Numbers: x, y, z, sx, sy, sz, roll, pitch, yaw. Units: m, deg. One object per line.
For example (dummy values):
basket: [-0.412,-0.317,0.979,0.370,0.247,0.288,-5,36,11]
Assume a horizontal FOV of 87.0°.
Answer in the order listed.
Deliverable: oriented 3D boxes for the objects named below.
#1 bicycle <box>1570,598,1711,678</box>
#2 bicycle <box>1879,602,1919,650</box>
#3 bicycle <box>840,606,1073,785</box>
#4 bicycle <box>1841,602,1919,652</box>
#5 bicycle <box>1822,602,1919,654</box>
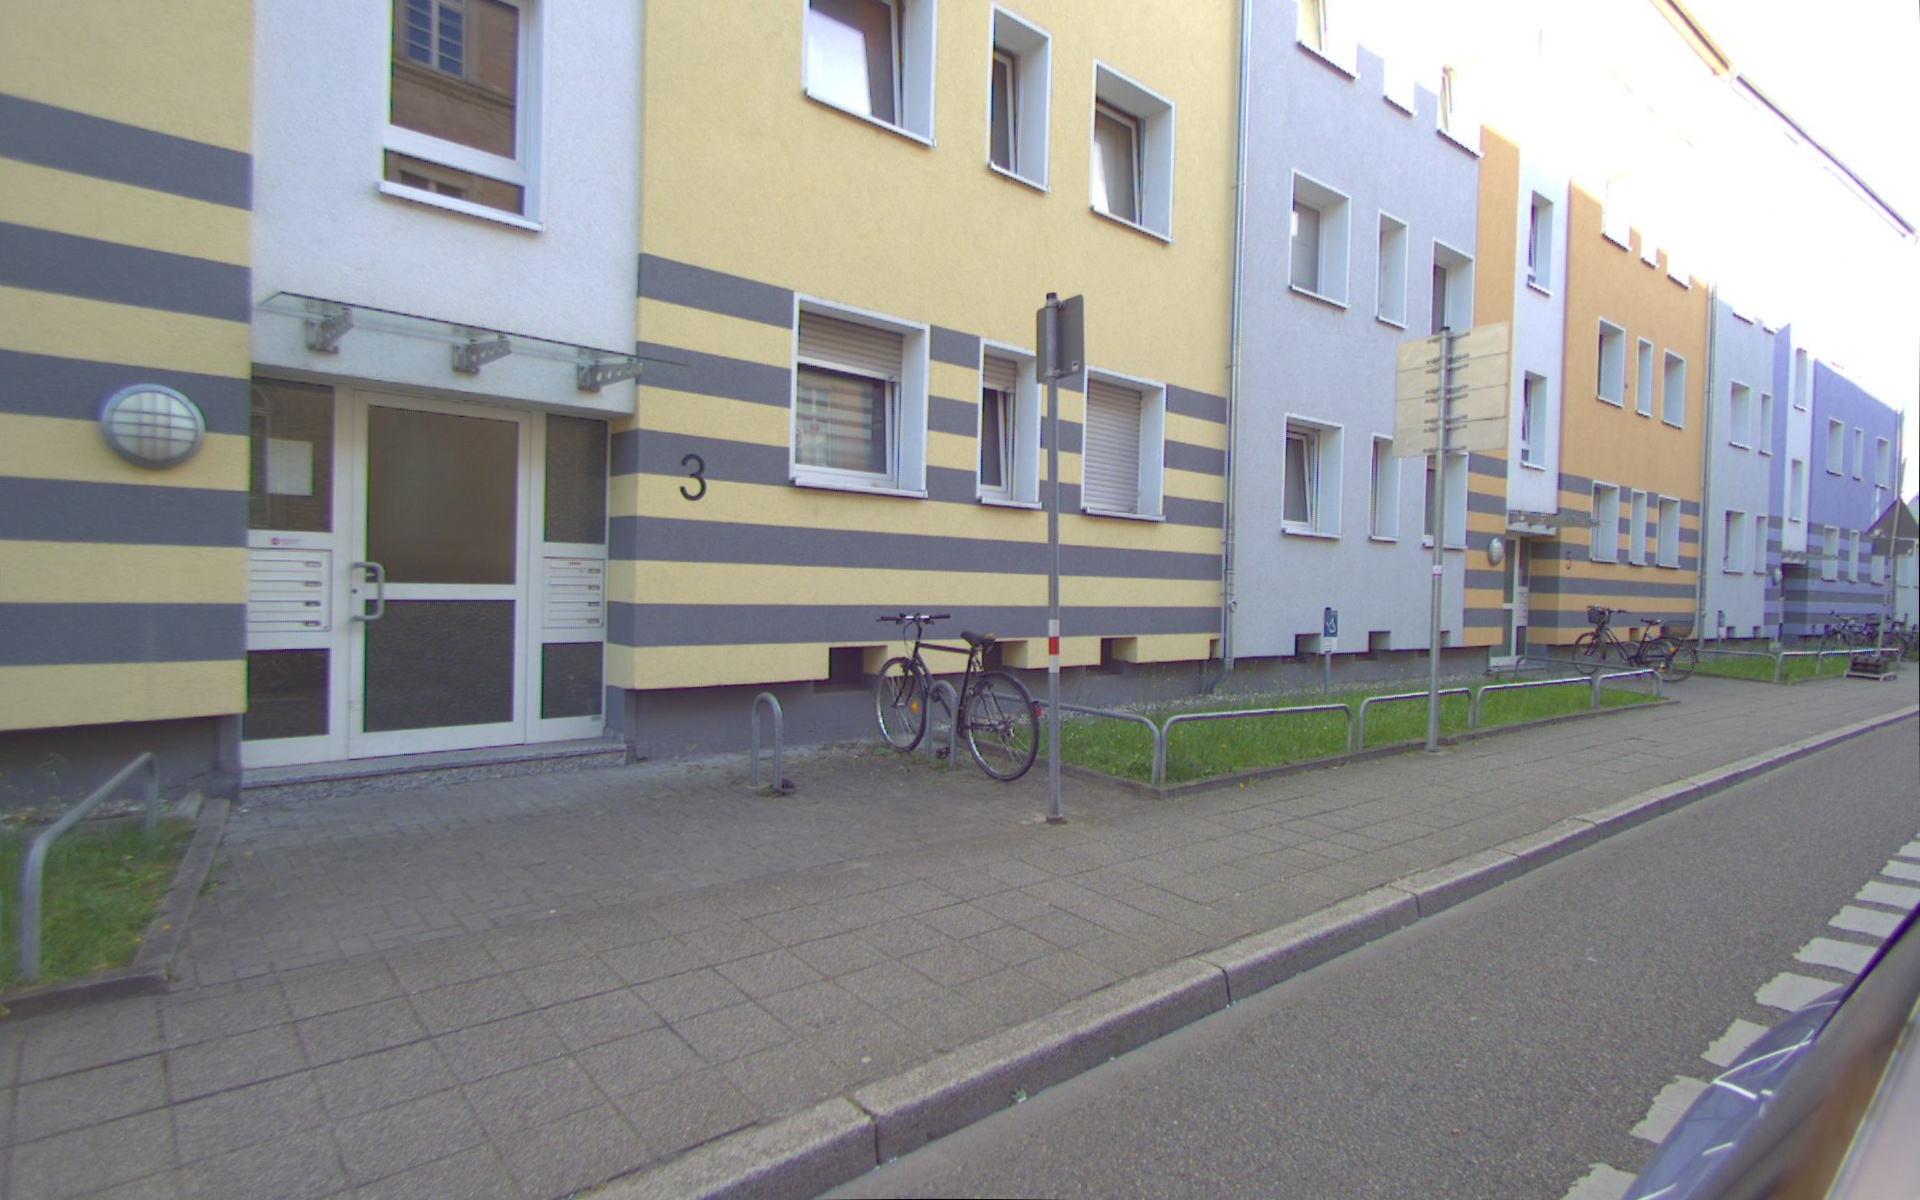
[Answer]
bicycle: [10.685,0.571,15.940,1.775,1.137,0.476,3,1,44]
bicycle: [24.132,0.668,25.272,0.475,1.166,1.678,1,1,-37]
bicycle: [-0.076,0.594,7.011,1.775,1.031,0.476,3,1,44]
bicycle: [23.305,0.656,25.415,0.475,1.166,1.678,1,1,-37]
bicycle: [22.224,0.673,24.723,0.475,1.166,1.678,1,1,-37]
